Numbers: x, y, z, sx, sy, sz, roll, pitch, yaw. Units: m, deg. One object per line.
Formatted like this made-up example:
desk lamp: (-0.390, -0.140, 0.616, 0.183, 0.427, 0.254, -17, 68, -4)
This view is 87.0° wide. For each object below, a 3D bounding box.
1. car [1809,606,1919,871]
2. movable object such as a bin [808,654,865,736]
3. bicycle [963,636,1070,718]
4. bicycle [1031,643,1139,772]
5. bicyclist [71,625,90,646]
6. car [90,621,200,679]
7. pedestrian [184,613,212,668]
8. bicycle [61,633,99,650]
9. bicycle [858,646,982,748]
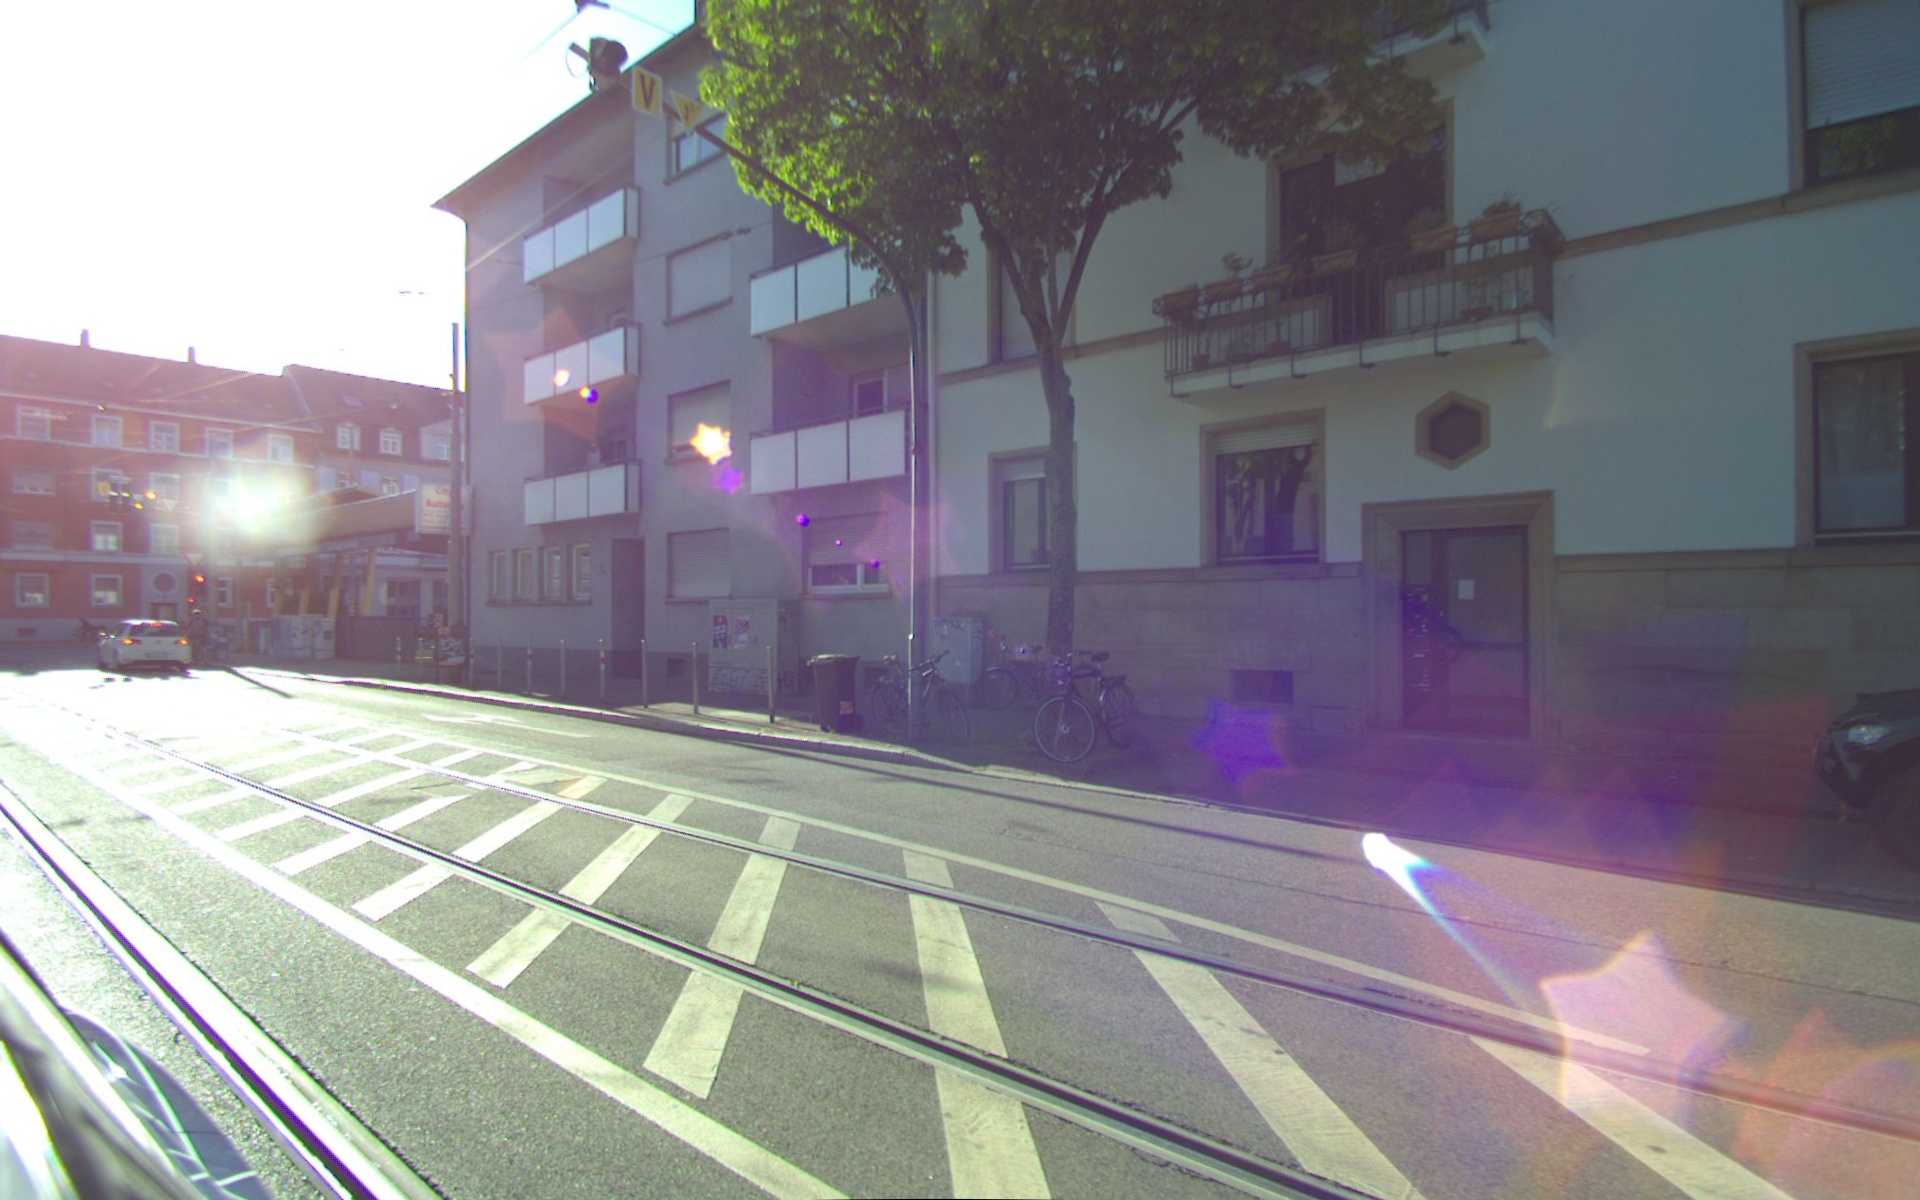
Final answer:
car: (6.597, 0.757, 5.803, 2.546, 1.514, 1.341, -4, -3, 42)
movable object such as a bin: (-1.518, 1.158, 12.434, 0.582, 0.942, 0.420, -1, 0, 42)
bicycle: (0.769, 1.049, 14.147, 1.661, 1.050, 0.299, -1, 0, 42)
bicycle: (1.297, 1.062, 10.369, 0.409, 1.178, 1.326, -1, 0, 42)
bicyclist: (-52.539, 2.129, 60.455, 0.658, 1.233, 0.555, -1, 0, -10)
car: (-24.161, 1.427, 29.969, 3.999, 1.536, 1.898, -1, 0, 42)
pedestrian: (-25.432, 1.349, 33.758, 0.583, 1.787, 0.631, -1, 0, 41)
bicycle: (-52.554, 2.491, 60.447, 1.650, 0.956, 0.555, -1, 0, -10)
bicycle: (-0.487, 1.073, 11.519, 1.661, 1.050, 0.299, -1, 0, 42)
